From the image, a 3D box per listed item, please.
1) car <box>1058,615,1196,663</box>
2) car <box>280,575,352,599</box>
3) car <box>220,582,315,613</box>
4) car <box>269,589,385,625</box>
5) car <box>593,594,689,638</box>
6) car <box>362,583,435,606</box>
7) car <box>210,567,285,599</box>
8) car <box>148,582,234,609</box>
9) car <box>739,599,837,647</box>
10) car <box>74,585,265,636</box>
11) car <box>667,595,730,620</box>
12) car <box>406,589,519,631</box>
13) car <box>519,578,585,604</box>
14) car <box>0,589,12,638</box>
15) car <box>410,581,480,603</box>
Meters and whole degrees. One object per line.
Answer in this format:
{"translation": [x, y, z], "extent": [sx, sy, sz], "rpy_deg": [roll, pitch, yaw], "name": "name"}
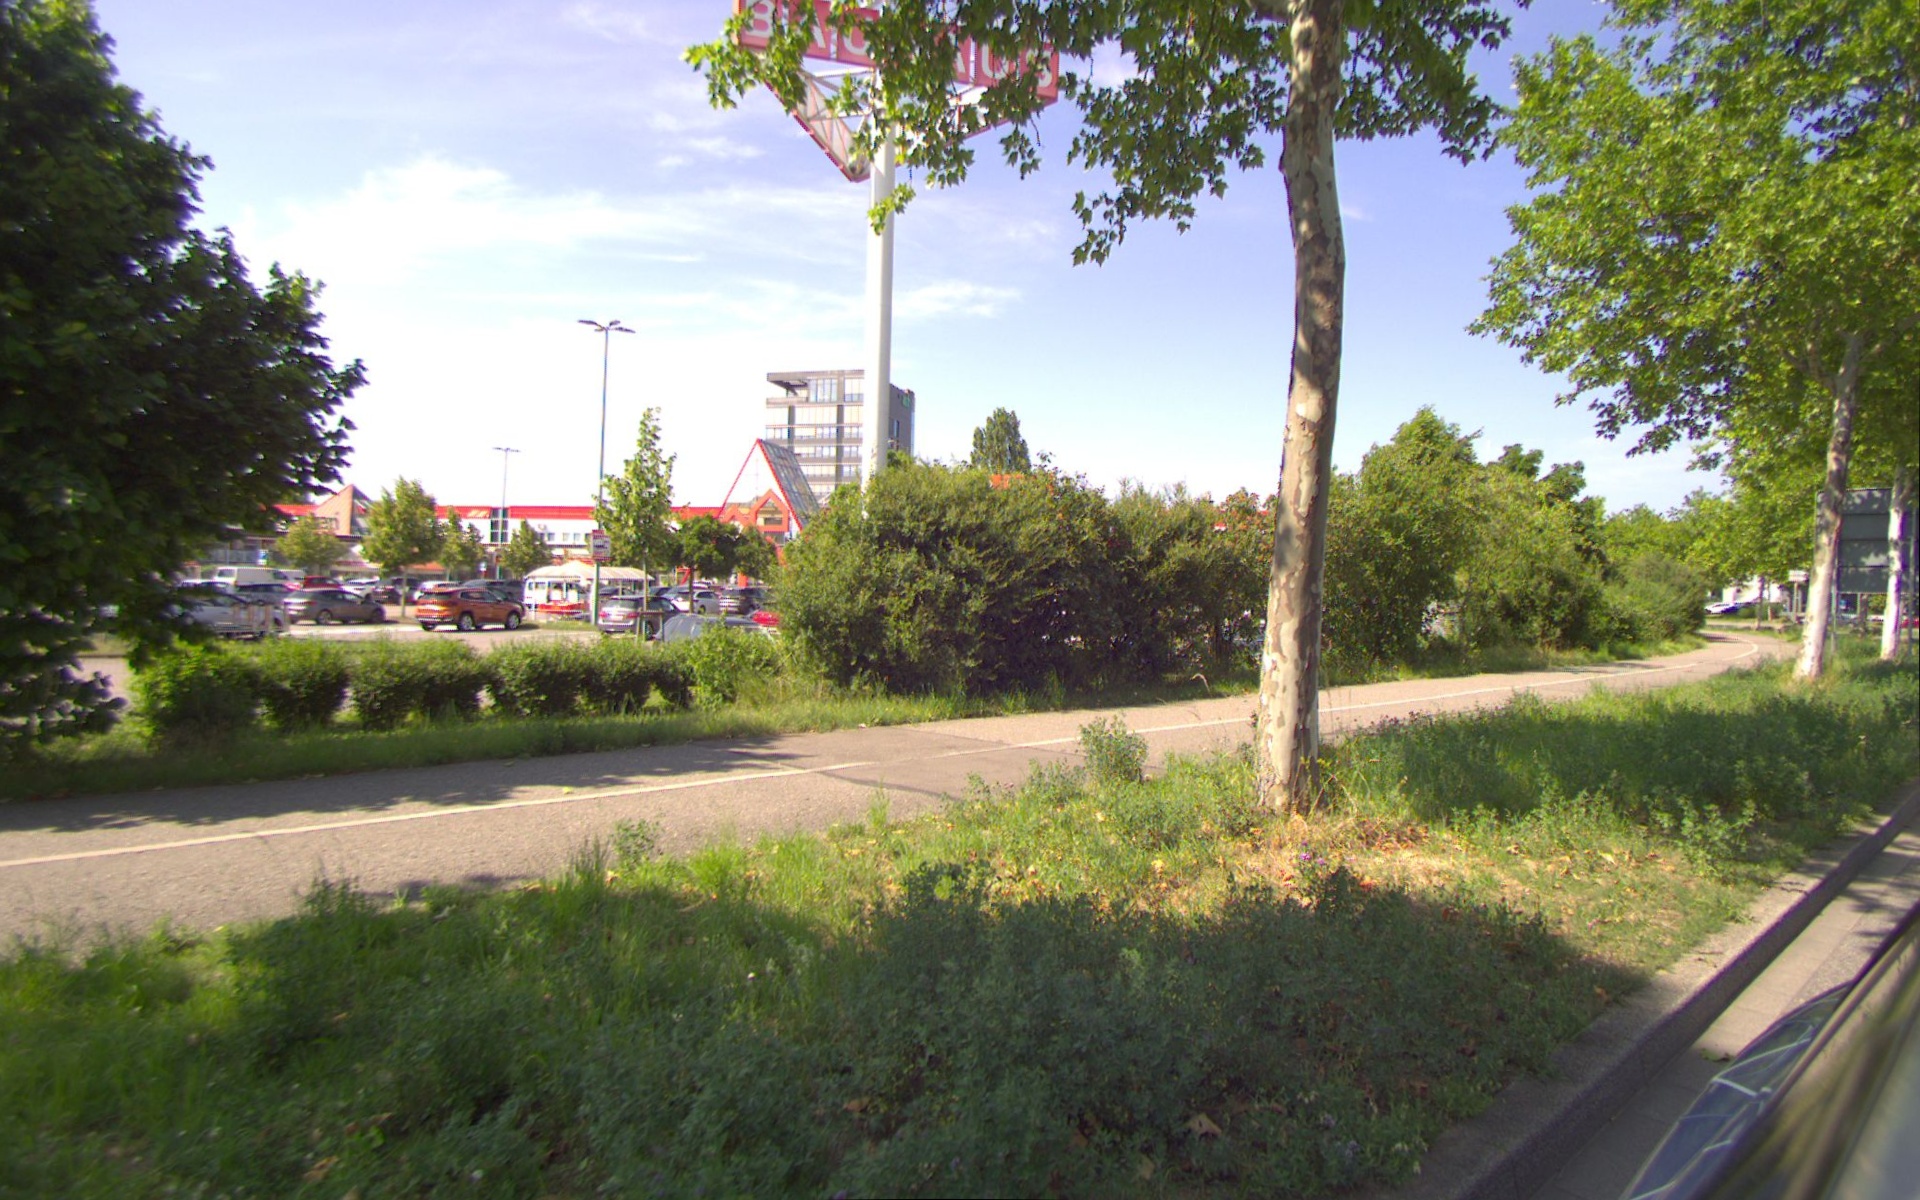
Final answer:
{"translation": [4.597, 1.039, 28.309], "extent": [1.174, 1.240, 3.966], "rpy_deg": [0, -1, -41], "name": "car"}
{"translation": [-40.254, -0.775, 63.325], "extent": [1.508, 1.455, 3.845], "rpy_deg": [1, 0, 14], "name": "car"}
{"translation": [-33.993, -0.145, 49.776], "extent": [1.508, 1.455, 3.845], "rpy_deg": [1, 0, 14], "name": "car"}
{"translation": [-25.446, 0.254, 40.805], "extent": [1.713, 1.382, 3.853], "rpy_deg": [1, 0, 15], "name": "car"}
{"translation": [-11.461, 0.554, 36.593], "extent": [1.753, 1.505, 3.776], "rpy_deg": [0, 0, 11], "name": "car"}
{"translation": [-33.645, -0.323, 60.732], "extent": [1.649, 1.327, 3.725], "rpy_deg": [-1, 0, 19], "name": "car"}
{"translation": [-45.335, -1.074, 64.491], "extent": [1.508, 1.972, 3.845], "rpy_deg": [0, 0, 14], "name": "car"}
{"translation": [-38.449, -0.233, 50.692], "extent": [1.293, 1.314, 3.355], "rpy_deg": [0, 0, 14], "name": "car"}
{"translation": [-5.983, 0.747, 35.673], "extent": [1.971, 1.527, 3.983], "rpy_deg": [1, 1, 14], "name": "car"}
{"translation": [-21.563, 0.323, 27.805], "extent": [1.760, 1.289, 3.804], "rpy_deg": [0, -2, 17], "name": "car"}
{"translation": [-14.247, 0.420, 55.328], "extent": [1.583, 1.341, 3.567], "rpy_deg": [-1, 0, 21], "name": "car"}
{"translation": [-18.884, 0.362, 38.631], "extent": [1.766, 1.522, 4.034], "rpy_deg": [1, 0, 12], "name": "car"}
{"translation": [-23.375, -0.500, 58.165], "extent": [1.582, 1.460, 3.985], "rpy_deg": [0, 0, 12], "name": "car"}
{"translation": [-24.997, 0.324, 23.271], "extent": [1.621, 1.220, 4.487], "rpy_deg": [1, 0, 17], "name": "car"}
{"translation": [-31.189, -0.459, 61.338], "extent": [1.649, 1.327, 3.725], "rpy_deg": [-1, 0, 19], "name": "car"}
